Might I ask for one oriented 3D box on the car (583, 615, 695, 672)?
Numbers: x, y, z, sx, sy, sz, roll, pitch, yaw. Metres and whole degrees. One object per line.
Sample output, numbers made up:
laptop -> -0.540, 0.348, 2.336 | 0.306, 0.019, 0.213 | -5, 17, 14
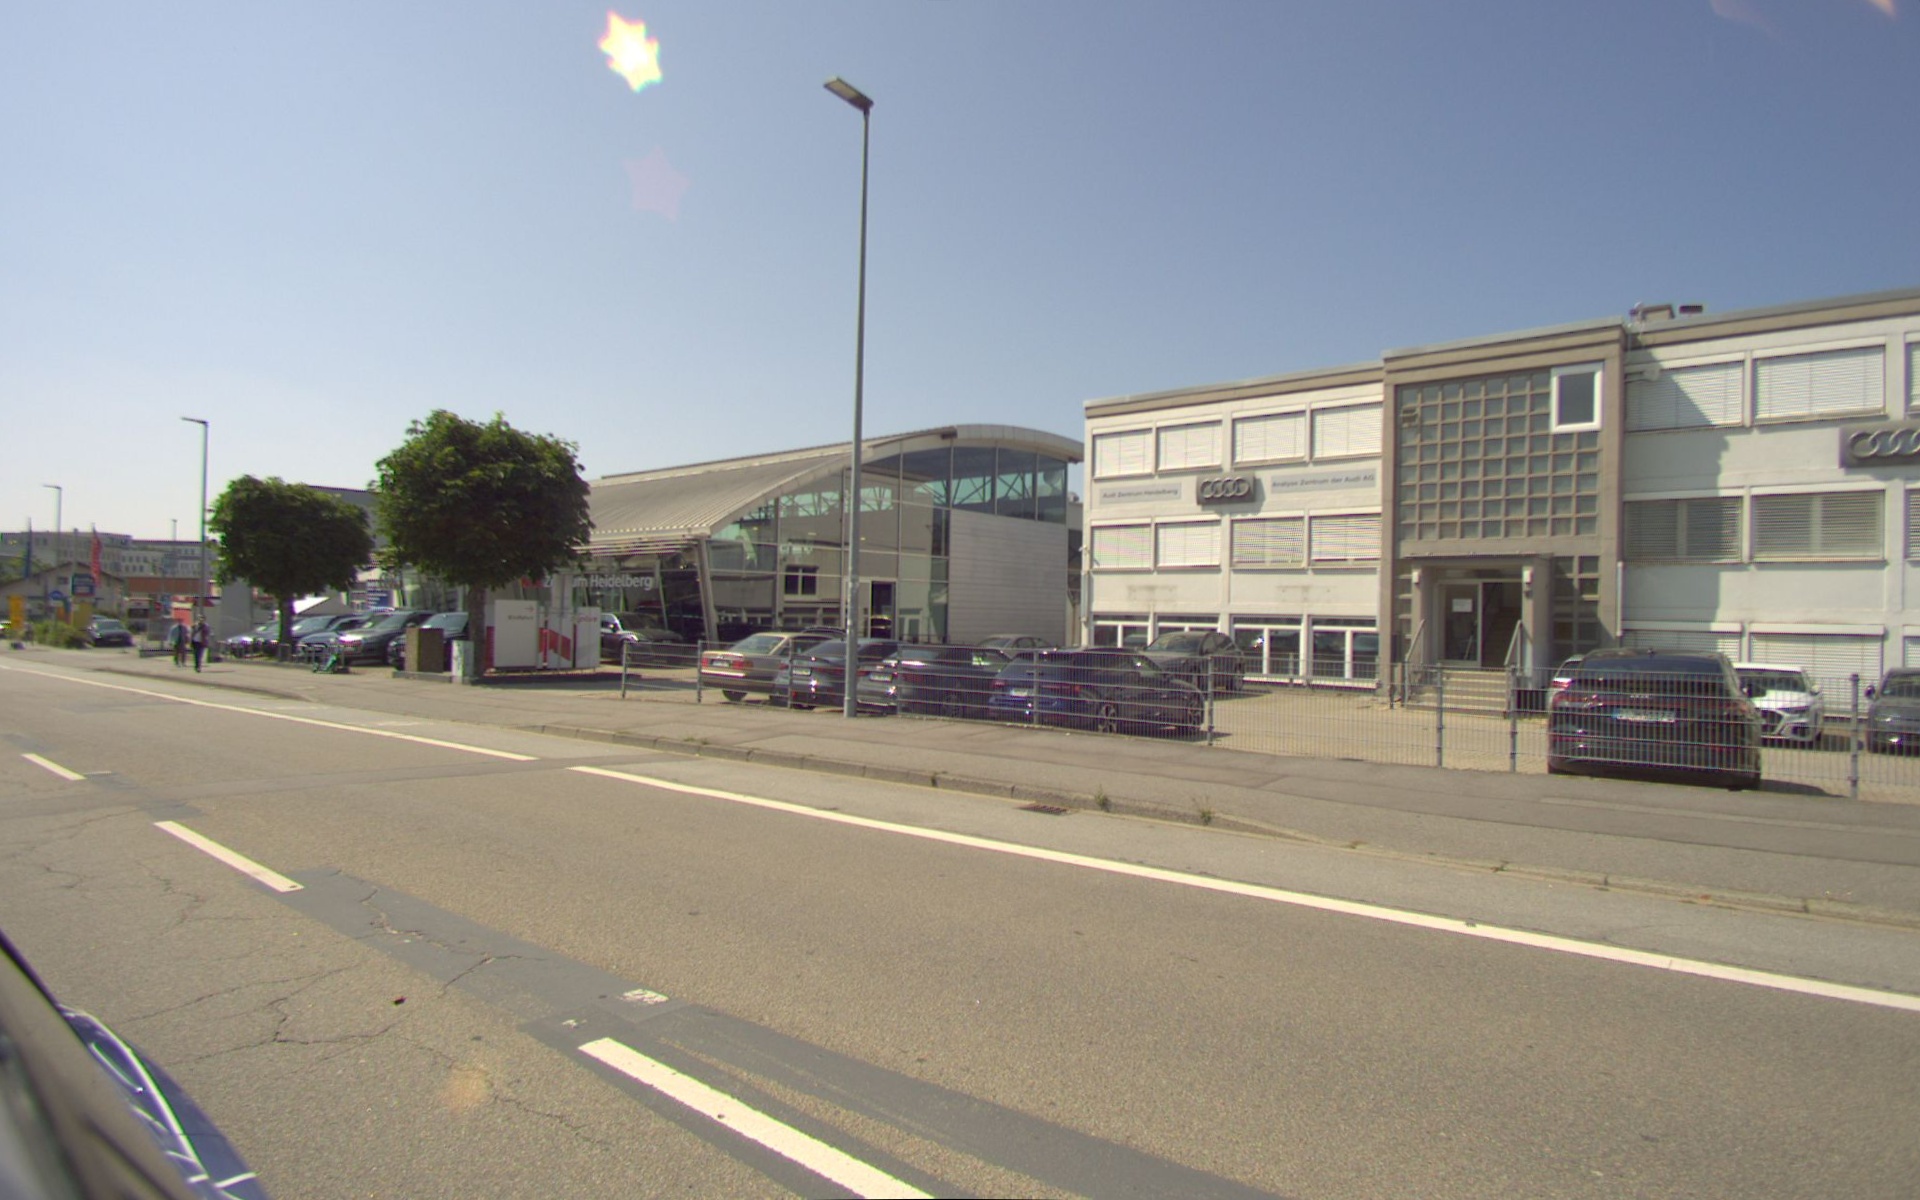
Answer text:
car -> -10.261, 1.327, 32.229 | 1.969, 1.697, 4.005 | 1, -2, -42

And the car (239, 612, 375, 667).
car -> -24.646, 1.451, 38.427 | 1.940, 1.620, 4.478 | -5, 2, 4

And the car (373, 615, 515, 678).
car -> -15.883, 1.380, 31.440 | 1.886, 1.720, 4.475 | -1, 0, 4

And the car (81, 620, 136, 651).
car -> -49.458, 2.038, 58.762 | 3.999, 1.728, 1.884 | -1, -2, 42

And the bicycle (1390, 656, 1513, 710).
bicycle -> 11.979, 2.000, 24.719 | 2.573, 1.187, 0.916 | -1, -2, 38

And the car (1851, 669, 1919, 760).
car -> 16.932, 1.952, 17.636 | 1.857, 1.274, 3.948 | -1, -1, 38

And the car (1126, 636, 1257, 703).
car -> 6.270, 1.780, 27.103 | 1.856, 1.565, 4.314 | -1, -2, 37

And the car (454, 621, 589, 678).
car -> -12.878, 1.412, 29.995 | 1.838, 1.562, 3.989 | -1, -1, 9

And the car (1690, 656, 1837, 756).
car -> 14.914, 1.861, 18.708 | 1.816, 1.413, 3.943 | 1, 0, 43

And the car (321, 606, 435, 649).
car -> -25.756, 1.194, 44.792 | 4.705, 1.732, 1.984 | -1, 2, 25

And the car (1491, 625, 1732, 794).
car -> 7.640, 1.094, 11.778 | 1.991, 1.570, 4.258 | -1, -2, 36

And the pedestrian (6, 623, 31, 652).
pedestrian -> -55.604, 2.217, 59.804 | 0.981, 1.698, 0.801 | 2, -2, -39

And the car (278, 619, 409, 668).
car -> -21.566, 1.487, 35.627 | 1.851, 1.506, 4.198 | 0, 0, 4

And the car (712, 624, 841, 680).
car -> -5.674, 1.582, 31.297 | 3.419, 1.518, 1.889 | 2, 1, -34

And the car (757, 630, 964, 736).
car -> -1.791, 1.478, 19.278 | 1.820, 1.455, 3.856 | 2, 4, 36

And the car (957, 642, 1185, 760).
car -> 1.873, 1.472, 16.037 | 1.856, 1.501, 3.951 | 2, -1, 36

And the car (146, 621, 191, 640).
car -> -58.491, 2.263, 74.770 | 4.485, 1.399, 1.886 | -1, -2, 43

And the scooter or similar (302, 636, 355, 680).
scooter or similar -> -18.509, 1.687, 29.672 | 1.486, 1.257, 0.738 | -1, -2, 32

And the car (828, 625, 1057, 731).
car -> -0.188, 1.408, 17.670 | 1.856, 1.454, 3.950 | 2, -6, 37

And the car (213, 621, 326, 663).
car -> -27.400, 1.635, 40.327 | 1.879, 1.470, 4.164 | -1, 0, -3

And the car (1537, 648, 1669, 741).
car -> 13.089, 1.817, 20.493 | 1.857, 1.557, 3.948 | -1, -1, 38

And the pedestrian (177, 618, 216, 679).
pedestrian -> -23.947, 1.519, 31.748 | 1.046, 1.882, 0.725 | -2, -3, 41

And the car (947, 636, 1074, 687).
car -> 1.584, 1.806, 30.562 | 1.857, 1.370, 3.947 | -1, -2, 39

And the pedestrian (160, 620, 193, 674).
pedestrian -> -27.400, 1.620, 35.388 | 0.911, 1.862, 0.715 | -1, -3, 40

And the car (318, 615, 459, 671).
car -> -18.561, 1.347, 33.145 | 1.835, 1.709, 4.574 | -1, -1, 4

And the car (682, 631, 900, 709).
car -> -3.459, 1.393, 21.491 | 1.898, 1.469, 4.481 | -1, -2, 38
